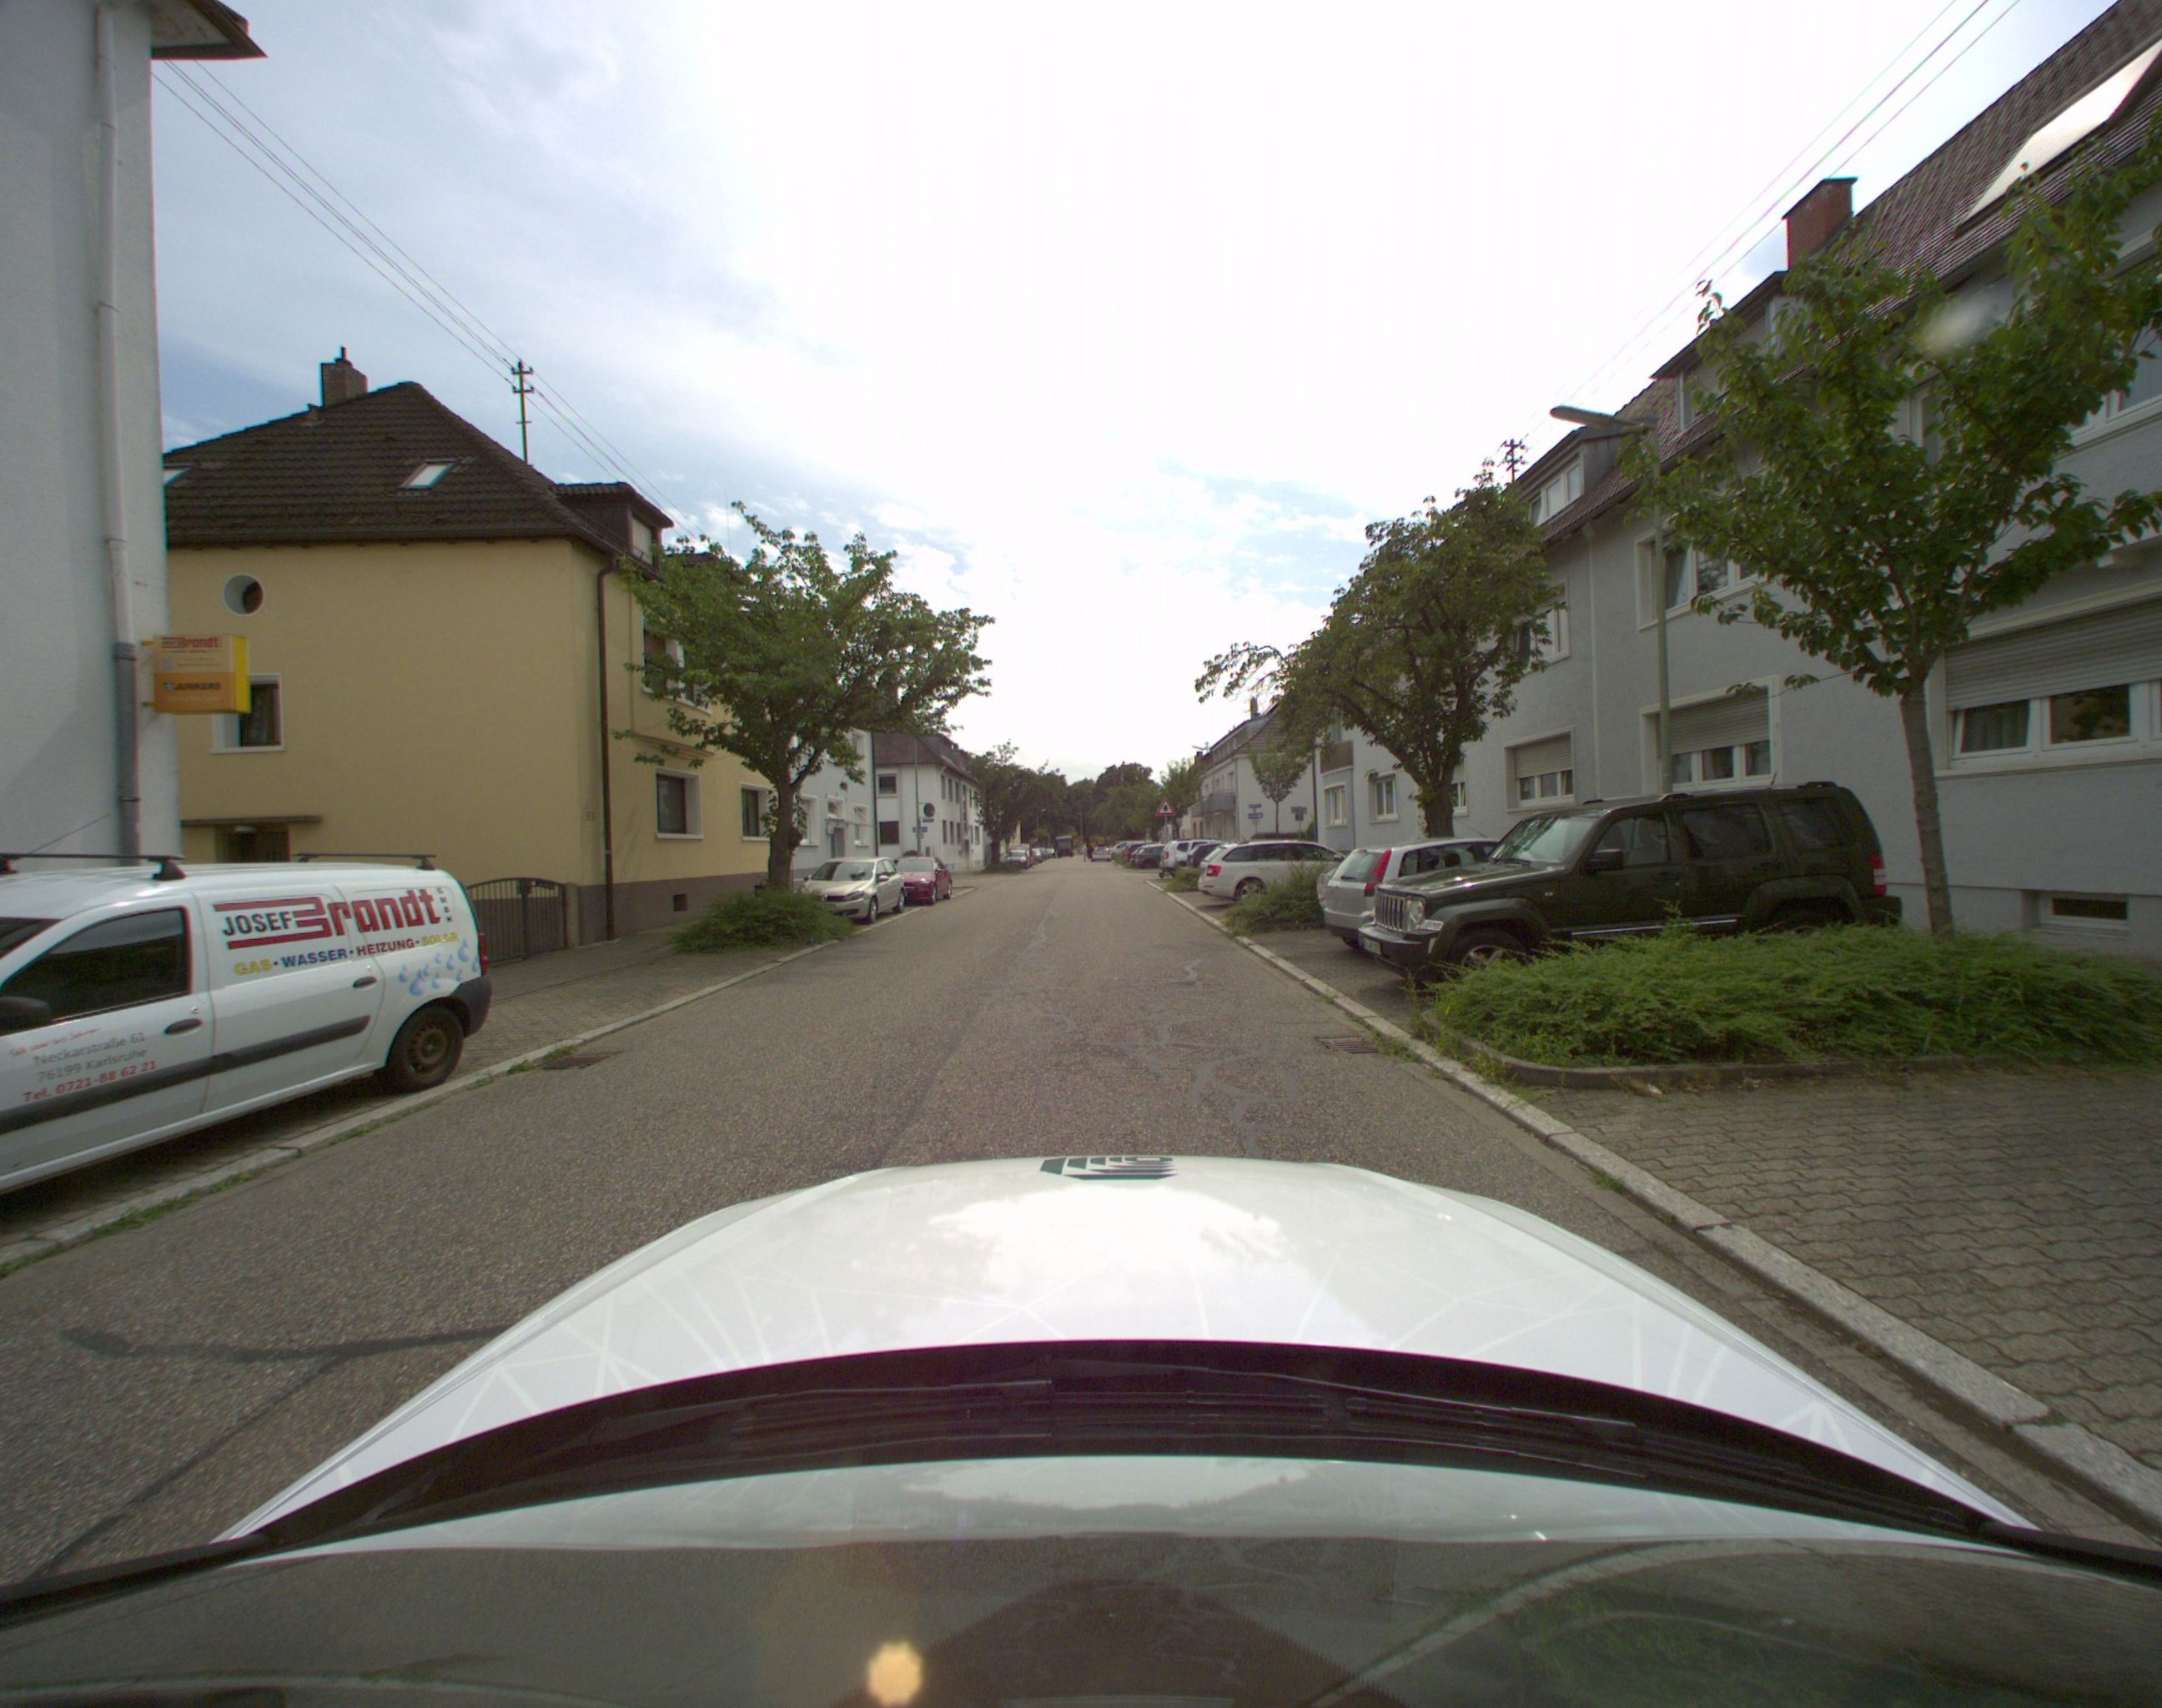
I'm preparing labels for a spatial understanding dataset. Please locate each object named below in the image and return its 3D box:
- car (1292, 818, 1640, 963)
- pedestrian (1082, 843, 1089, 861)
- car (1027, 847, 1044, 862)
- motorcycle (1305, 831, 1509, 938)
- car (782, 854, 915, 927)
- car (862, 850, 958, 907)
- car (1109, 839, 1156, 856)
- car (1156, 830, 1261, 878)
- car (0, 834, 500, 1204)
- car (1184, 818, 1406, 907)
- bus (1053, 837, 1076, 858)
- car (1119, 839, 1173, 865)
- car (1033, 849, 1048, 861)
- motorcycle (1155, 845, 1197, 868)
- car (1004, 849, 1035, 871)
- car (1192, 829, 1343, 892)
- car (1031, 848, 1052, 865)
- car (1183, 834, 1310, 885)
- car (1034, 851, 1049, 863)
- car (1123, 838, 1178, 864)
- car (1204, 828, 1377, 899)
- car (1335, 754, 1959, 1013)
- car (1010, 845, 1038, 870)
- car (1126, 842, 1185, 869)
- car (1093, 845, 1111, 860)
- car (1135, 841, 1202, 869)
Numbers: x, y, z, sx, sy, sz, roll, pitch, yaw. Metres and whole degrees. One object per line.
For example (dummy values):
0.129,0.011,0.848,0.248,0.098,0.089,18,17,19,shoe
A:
4.816,0.414,10.534,3.618,1.454,1.771,-4,0,-4,car
0.437,-0.163,79.748,0.520,1.704,0.445,-4,0,4,pedestrian
-4.805,0.036,86.407,1.647,1.377,3.719,-4,0,-2,car
4.936,0.435,12.475,2.695,1.464,1.030,-2,0,-4,motorcycle
-5.341,0.764,19.311,1.765,1.392,4.276,4,1,1,car
-5.152,0.684,25.203,1.871,1.486,4.512,-4,0,1,car
5.625,-0.676,88.850,4.961,1.518,1.767,-4,0,-2,car
5.081,-0.004,32.836,3.910,1.633,1.868,-4,0,1,car
-5.596,0.763,4.186,1.912,1.581,4.383,-4,0,1,car
4.838,0.179,18.909,4.598,1.663,1.893,-4,0,1,car
-2.366,-0.936,120.446,2.993,2.761,8.926,-4,0,1,bus
4.664,-0.150,59.019,3.734,1.564,1.773,-4,0,1,car
-4.955,0.120,100.371,1.646,1.377,3.721,-4,0,0,car
5.356,0.150,46.068,2.187,1.210,0.939,-2,0,-2,motorcycle
-4.742,0.450,63.092,1.756,1.554,3.735,-4,0,4,car
5.368,0.170,23.793,3.974,1.508,1.712,-4,0,0,car
-3.590,0.210,74.738,1.646,1.461,3.552,-4,0,0,car
5.627,0.183,27.990,3.974,1.421,1.712,-4,0,0,car
-4.451,0.320,91.470,1.535,1.301,3.719,-4,0,-2,car
5.241,-0.231,61.556,3.973,1.618,1.868,-4,0,1,car
5.318,0.232,21.068,3.974,1.508,1.712,-4,0,0,car
4.964,0.248,7.682,4.507,1.858,1.794,-4,0,2,car
-4.768,0.253,69.149,1.987,2.013,4.520,-2,0,0,car
4.660,0.079,51.162,3.506,1.412,1.559,-4,0,0,car
2.100,-0.136,80.460,1.681,1.354,3.828,-4,0,2,car
5.164,0.067,48.452,3.734,1.365,1.773,-4,0,1,car
